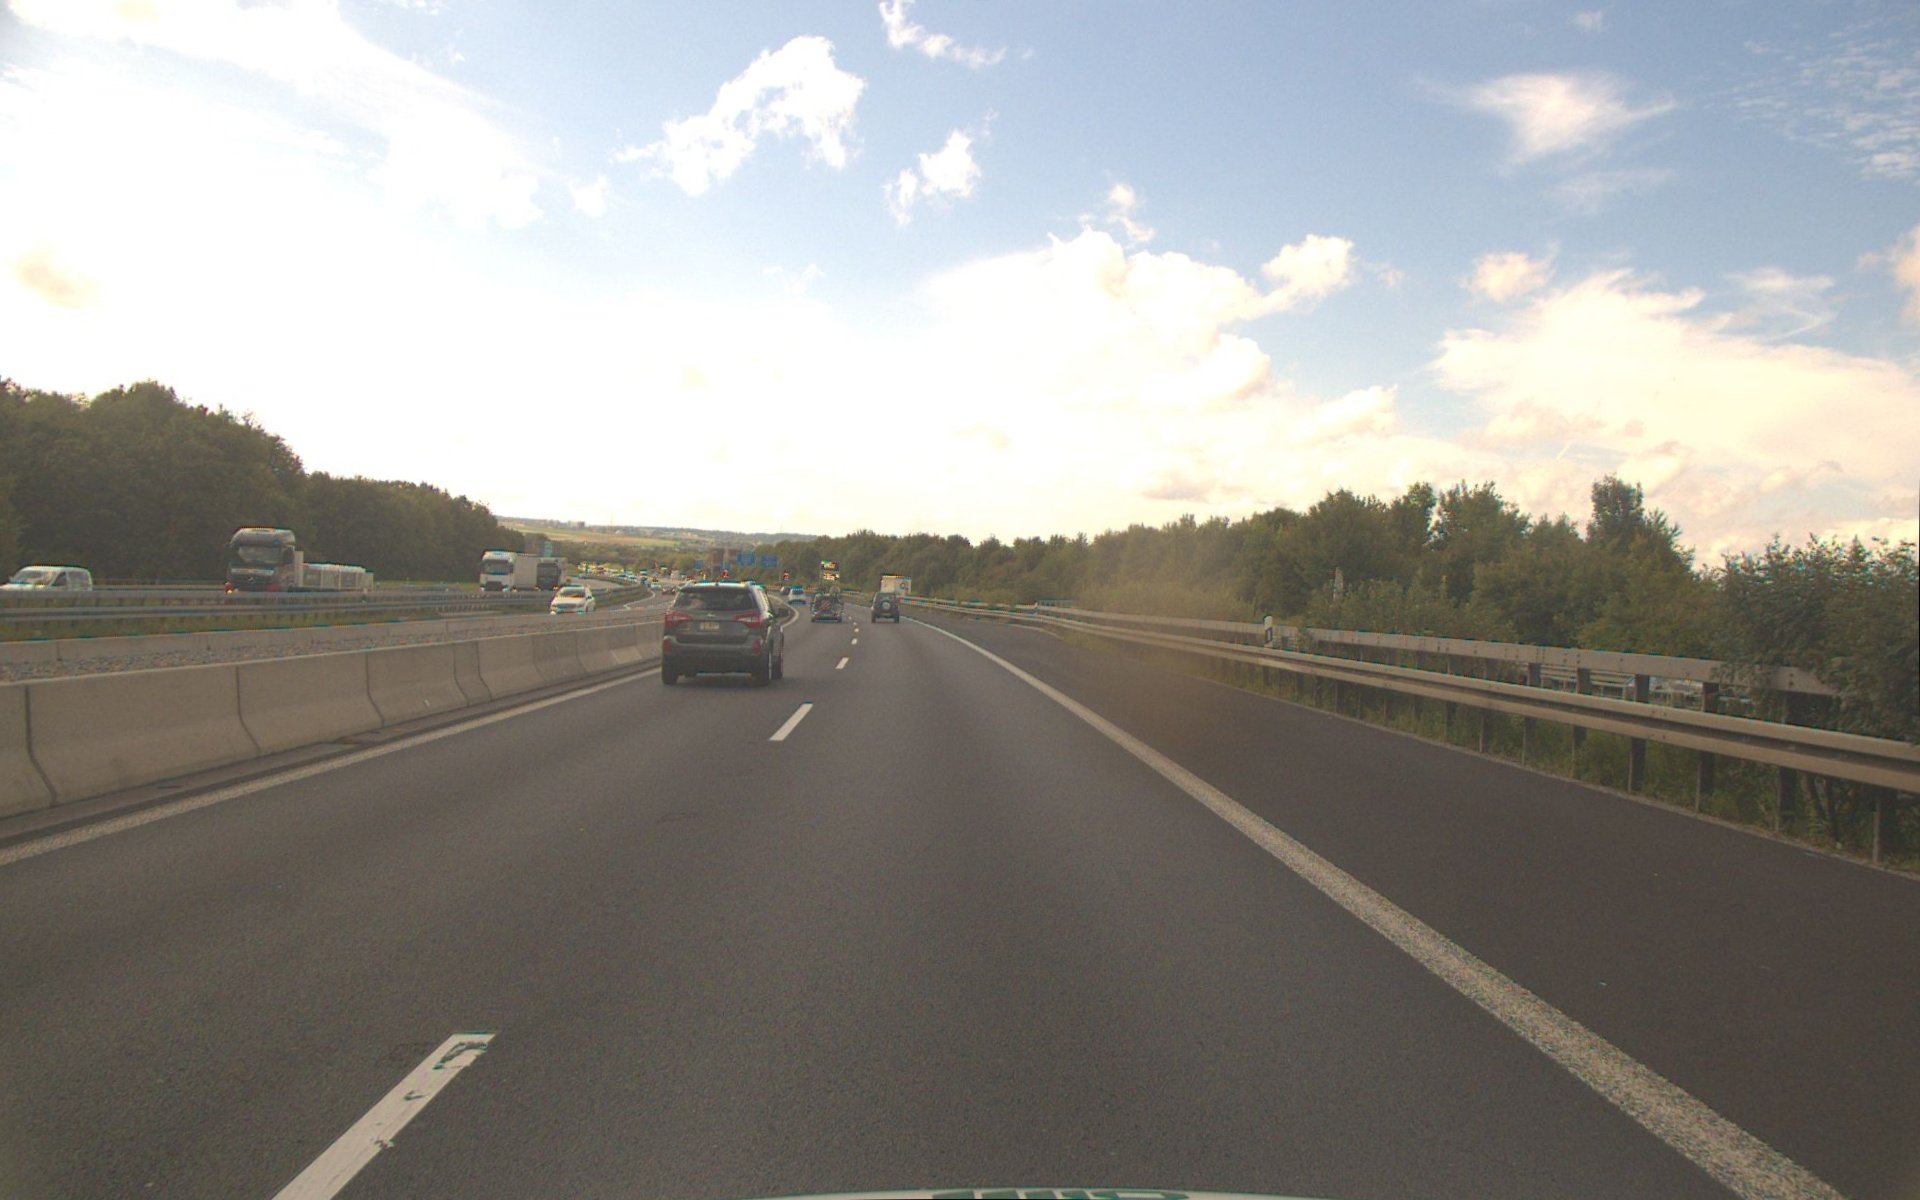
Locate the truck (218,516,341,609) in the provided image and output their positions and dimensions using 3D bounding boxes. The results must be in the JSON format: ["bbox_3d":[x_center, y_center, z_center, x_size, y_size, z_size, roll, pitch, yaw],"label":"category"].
[{"bbox_3d":[-30.309,-1.586,73.992,2.753,3.893,7.125,1,0,-2],"label":"truck"}]

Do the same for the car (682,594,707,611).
[{"bbox_3d":[-24.839,0.275,155.048,1.837,1.473,5.117,1,-1,-4],"label":"car"}]

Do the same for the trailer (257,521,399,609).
[{"bbox_3d":[-30.621,-1.592,80.875,2.757,3.873,12.181,1,0,-3],"label":"trailer"}]

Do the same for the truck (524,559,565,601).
[{"bbox_3d":[-43.956,-2.042,175.276,2.847,4.038,10.446,1,-1,-7],"label":"truck"}]

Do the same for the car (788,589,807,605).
[{"bbox_3d":[-18.485,-0.297,188.359,1.956,1.713,3.992,1,-1,-8],"label":"car"}]

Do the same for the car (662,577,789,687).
[{"bbox_3d":[-4.091,0.536,29.565,1.781,1.766,5.183,1,0,-3],"label":"car"}]

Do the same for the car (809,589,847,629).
[{"bbox_3d":[-7.465,0.477,94.015,1.990,2.189,3.998,1,0,-3],"label":"car"}]

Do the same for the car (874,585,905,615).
[{"bbox_3d":[-4.107,-0.013,96.085,1.556,1.625,4.091,1,0,-6],"label":"car"}]

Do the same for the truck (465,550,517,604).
[{"bbox_3d":[-40.013,-1.910,141.344,3.258,4.368,6.737,1,-1,-7],"label":"truck"}]

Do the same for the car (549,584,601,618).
[{"bbox_3d":[-19.220,0.078,82.701,1.678,1.554,4.763,1,-1,-3],"label":"car"}]

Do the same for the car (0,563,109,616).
[{"bbox_3d":[-35.447,-0.376,64.386,1.953,1.887,5.260,1,-1,-1],"label":"car"}]

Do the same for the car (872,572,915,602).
[{"bbox_3d":[-10.296,-1.982,255.104,4.647,4.341,11.365,1,-1,-13],"label":"car"}]

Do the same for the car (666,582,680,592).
[{"bbox_3d":[-43.423,-1.947,250.389,1.956,1.427,4.805,1,0,-7],"label":"car"}]
